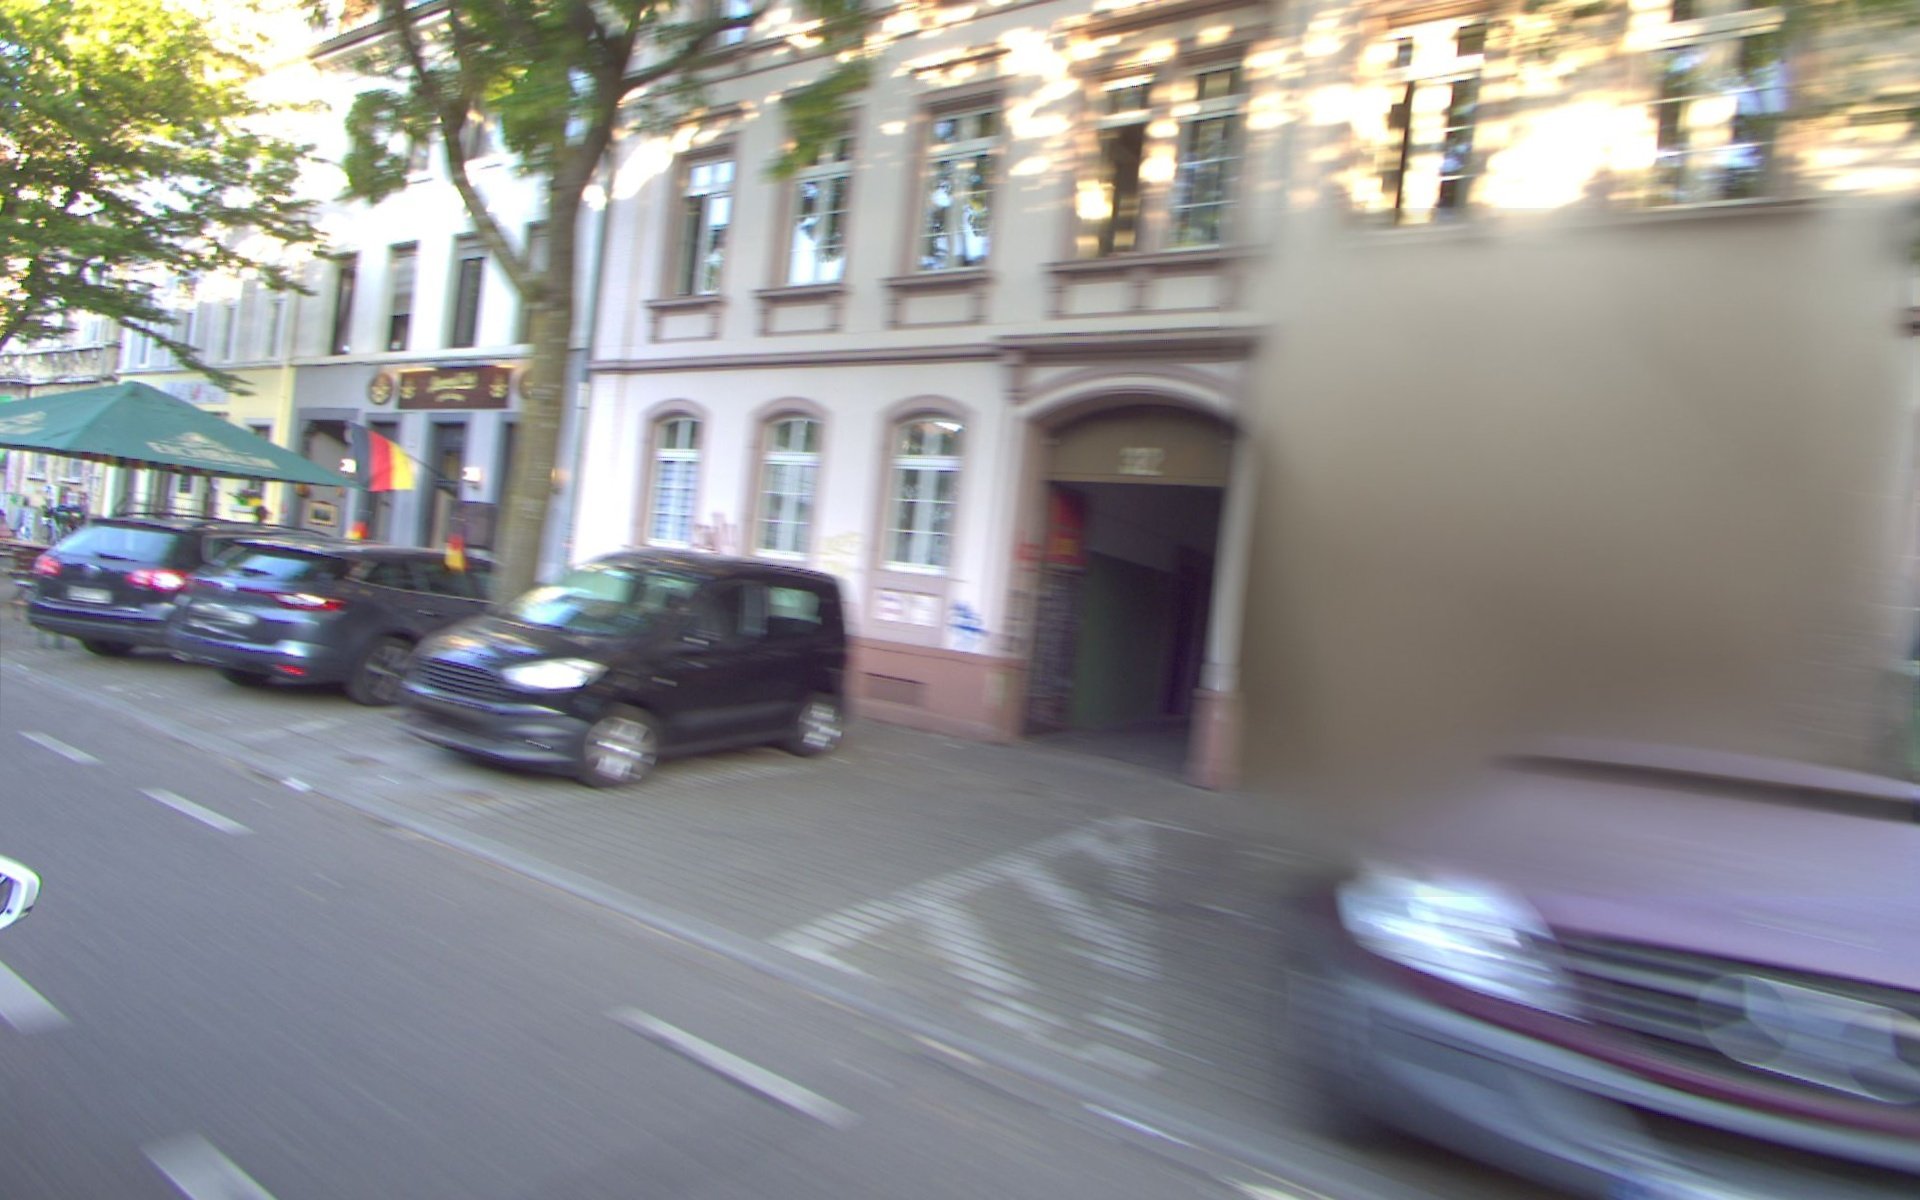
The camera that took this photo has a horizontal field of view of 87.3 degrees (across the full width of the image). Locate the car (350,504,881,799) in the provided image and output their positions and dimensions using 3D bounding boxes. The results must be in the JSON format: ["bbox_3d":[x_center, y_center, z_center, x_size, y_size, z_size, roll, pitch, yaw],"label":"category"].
[{"bbox_3d":[-2.504,0.404,8.415,1.785,1.728,4.023,6,-1,25],"label":"car"}]

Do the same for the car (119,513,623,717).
[{"bbox_3d":[-5.625,0.173,10.345,1.970,1.480,4.189,6,0,16],"label":"car"}]

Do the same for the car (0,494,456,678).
[{"bbox_3d":[-7.984,-0.110,11.387,1.970,1.517,4.190,6,0,7],"label":"car"}]

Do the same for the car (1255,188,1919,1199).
[{"bbox_3d":[2.595,0.525,4.606,1.983,2.676,5.111,6,1,15],"label":"car"}]
